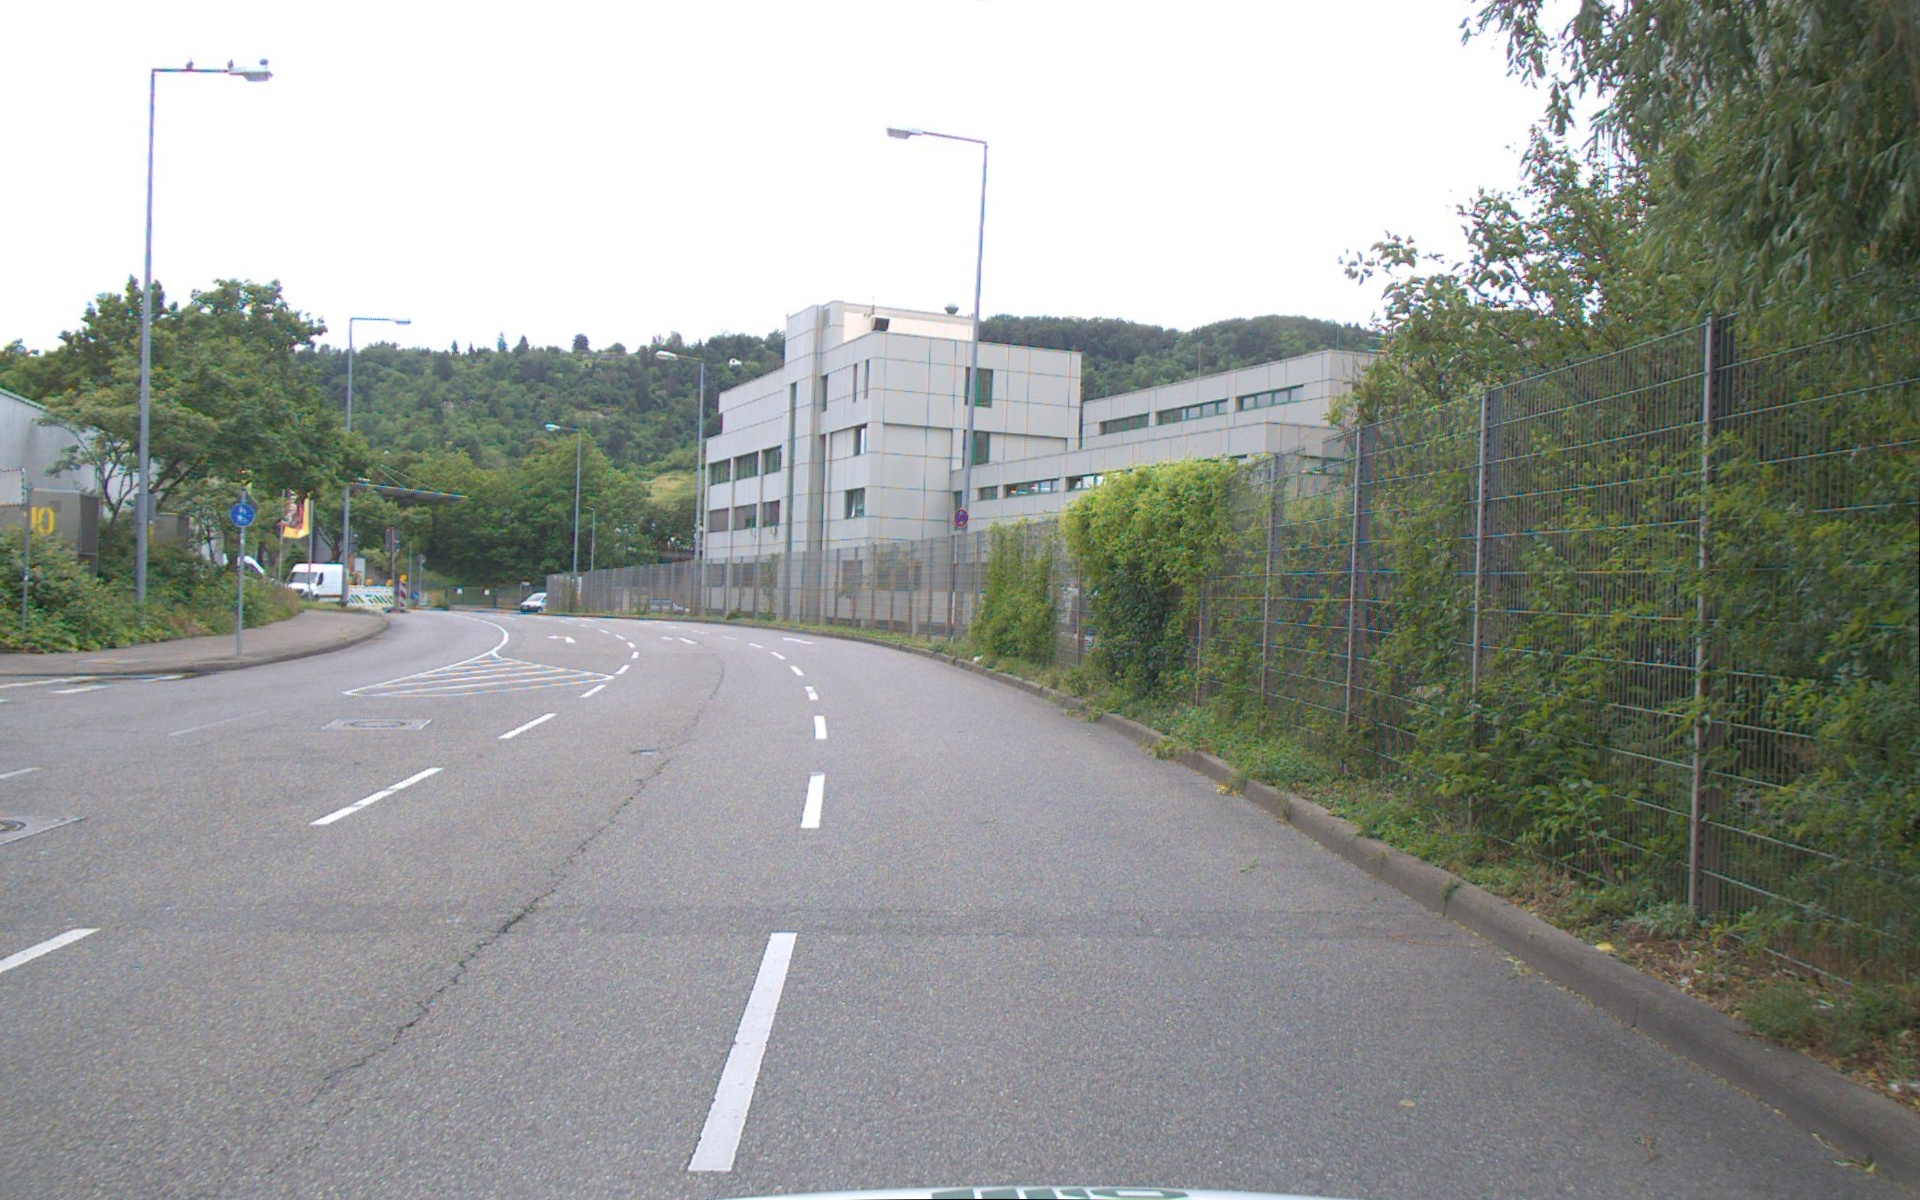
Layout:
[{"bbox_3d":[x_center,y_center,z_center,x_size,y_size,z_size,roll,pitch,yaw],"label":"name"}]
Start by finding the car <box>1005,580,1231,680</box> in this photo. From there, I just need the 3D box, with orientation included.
[{"bbox_3d":[3.978,0.716,42.744,1.982,2.302,6.077,3,-1,-41],"label":"car"}]

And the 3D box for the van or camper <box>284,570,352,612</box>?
[{"bbox_3d":[-39.945,-0.536,103.057,1.968,2.367,6.648,2,-1,-4],"label":"van or camper"}]

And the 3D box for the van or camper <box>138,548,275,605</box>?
[{"bbox_3d":[-37.163,-1.133,81.807,5.901,2.286,2.380,5,-2,-22],"label":"van or camper"}]

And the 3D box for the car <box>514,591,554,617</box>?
[{"bbox_3d":[-36.297,0.367,141.040,1.952,2.049,4.133,2,0,5],"label":"car"}]
